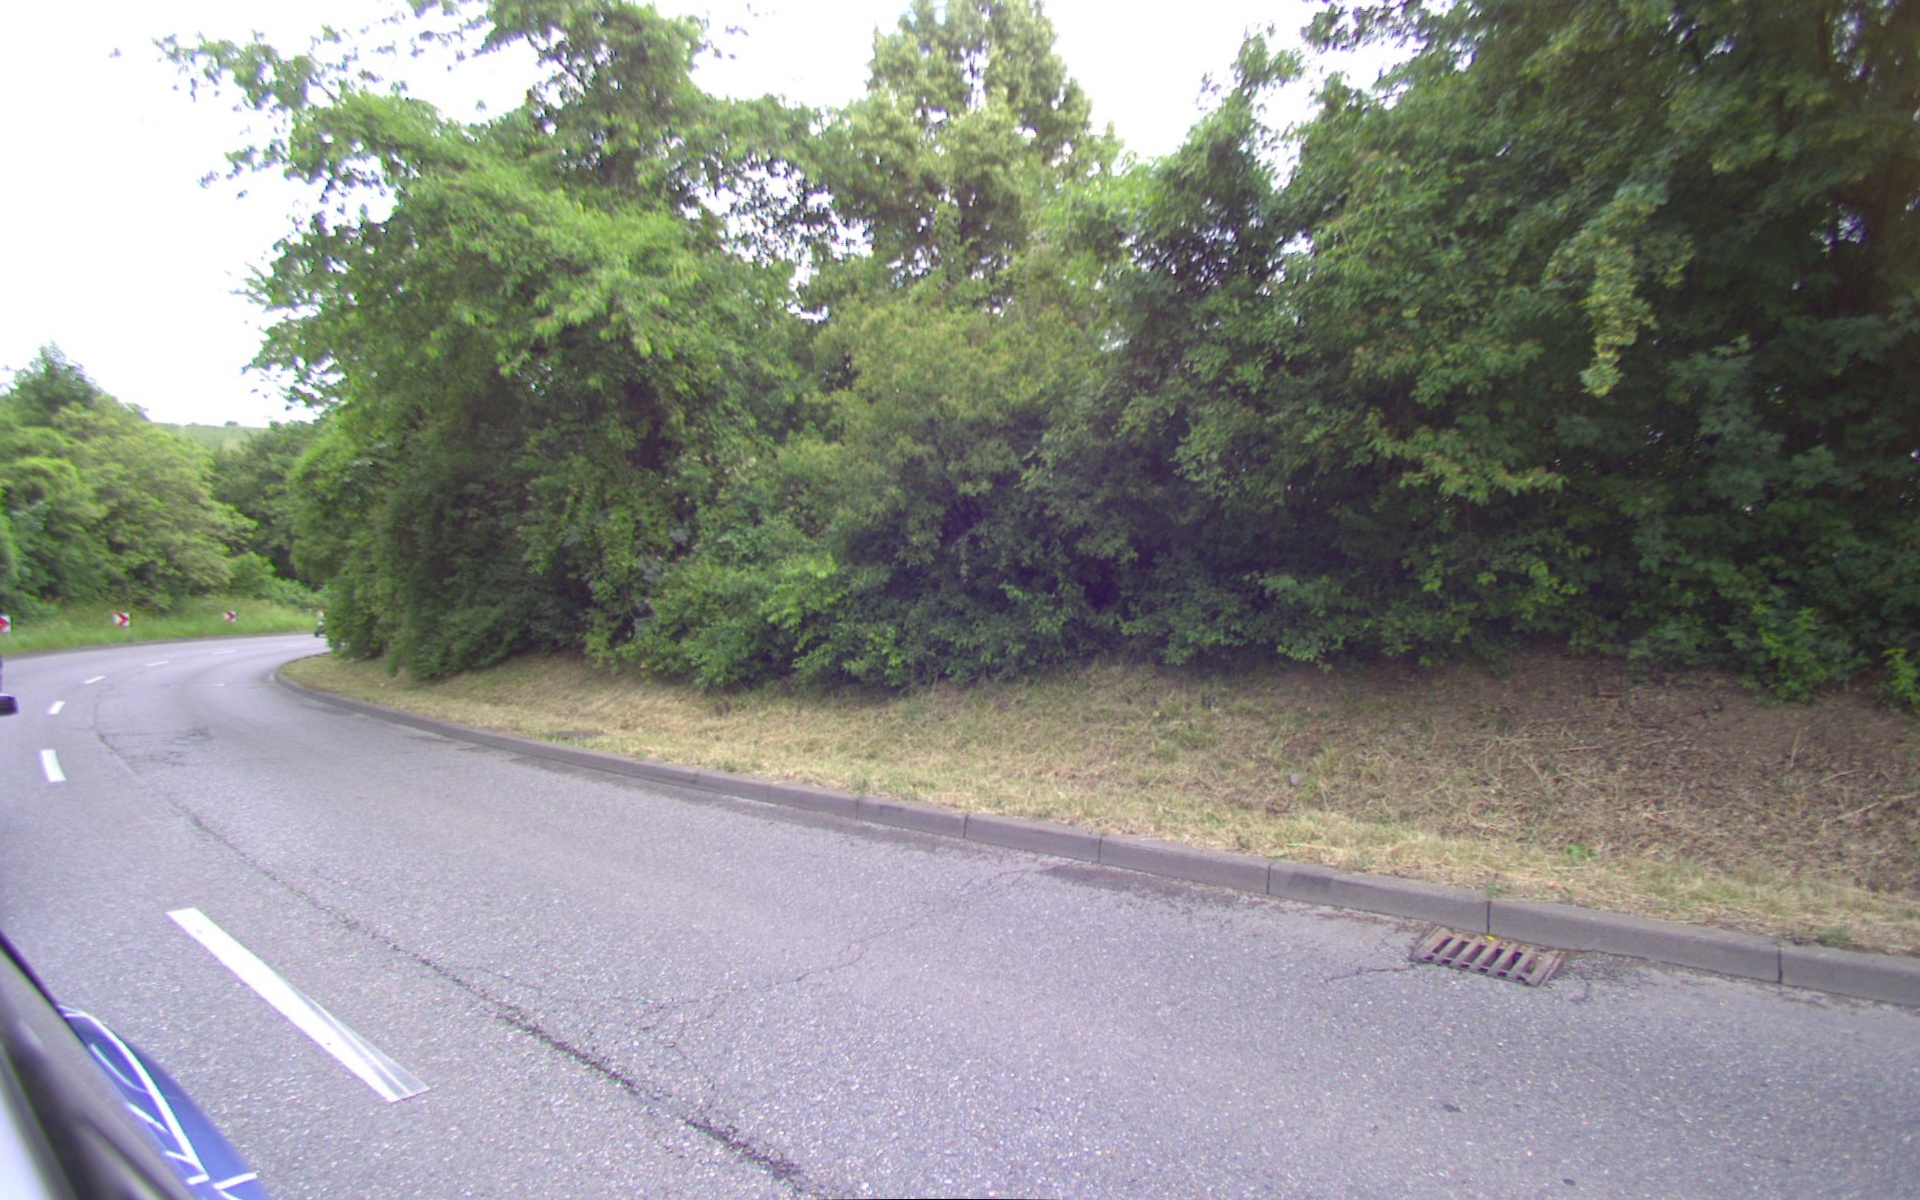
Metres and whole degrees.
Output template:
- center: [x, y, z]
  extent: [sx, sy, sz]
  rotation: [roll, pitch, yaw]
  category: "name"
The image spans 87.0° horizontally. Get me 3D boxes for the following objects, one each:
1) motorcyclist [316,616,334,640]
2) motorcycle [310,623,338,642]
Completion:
- center: [-35.592, 1.544, 56.740]
  extent: [0.558, 1.304, 0.708]
  rotation: [3, -1, -7]
  category: "motorcyclist"
- center: [-35.592, 1.815, 56.655]
  extent: [0.668, 1.019, 1.678]
  rotation: [3, -1, -7]
  category: "motorcycle"
